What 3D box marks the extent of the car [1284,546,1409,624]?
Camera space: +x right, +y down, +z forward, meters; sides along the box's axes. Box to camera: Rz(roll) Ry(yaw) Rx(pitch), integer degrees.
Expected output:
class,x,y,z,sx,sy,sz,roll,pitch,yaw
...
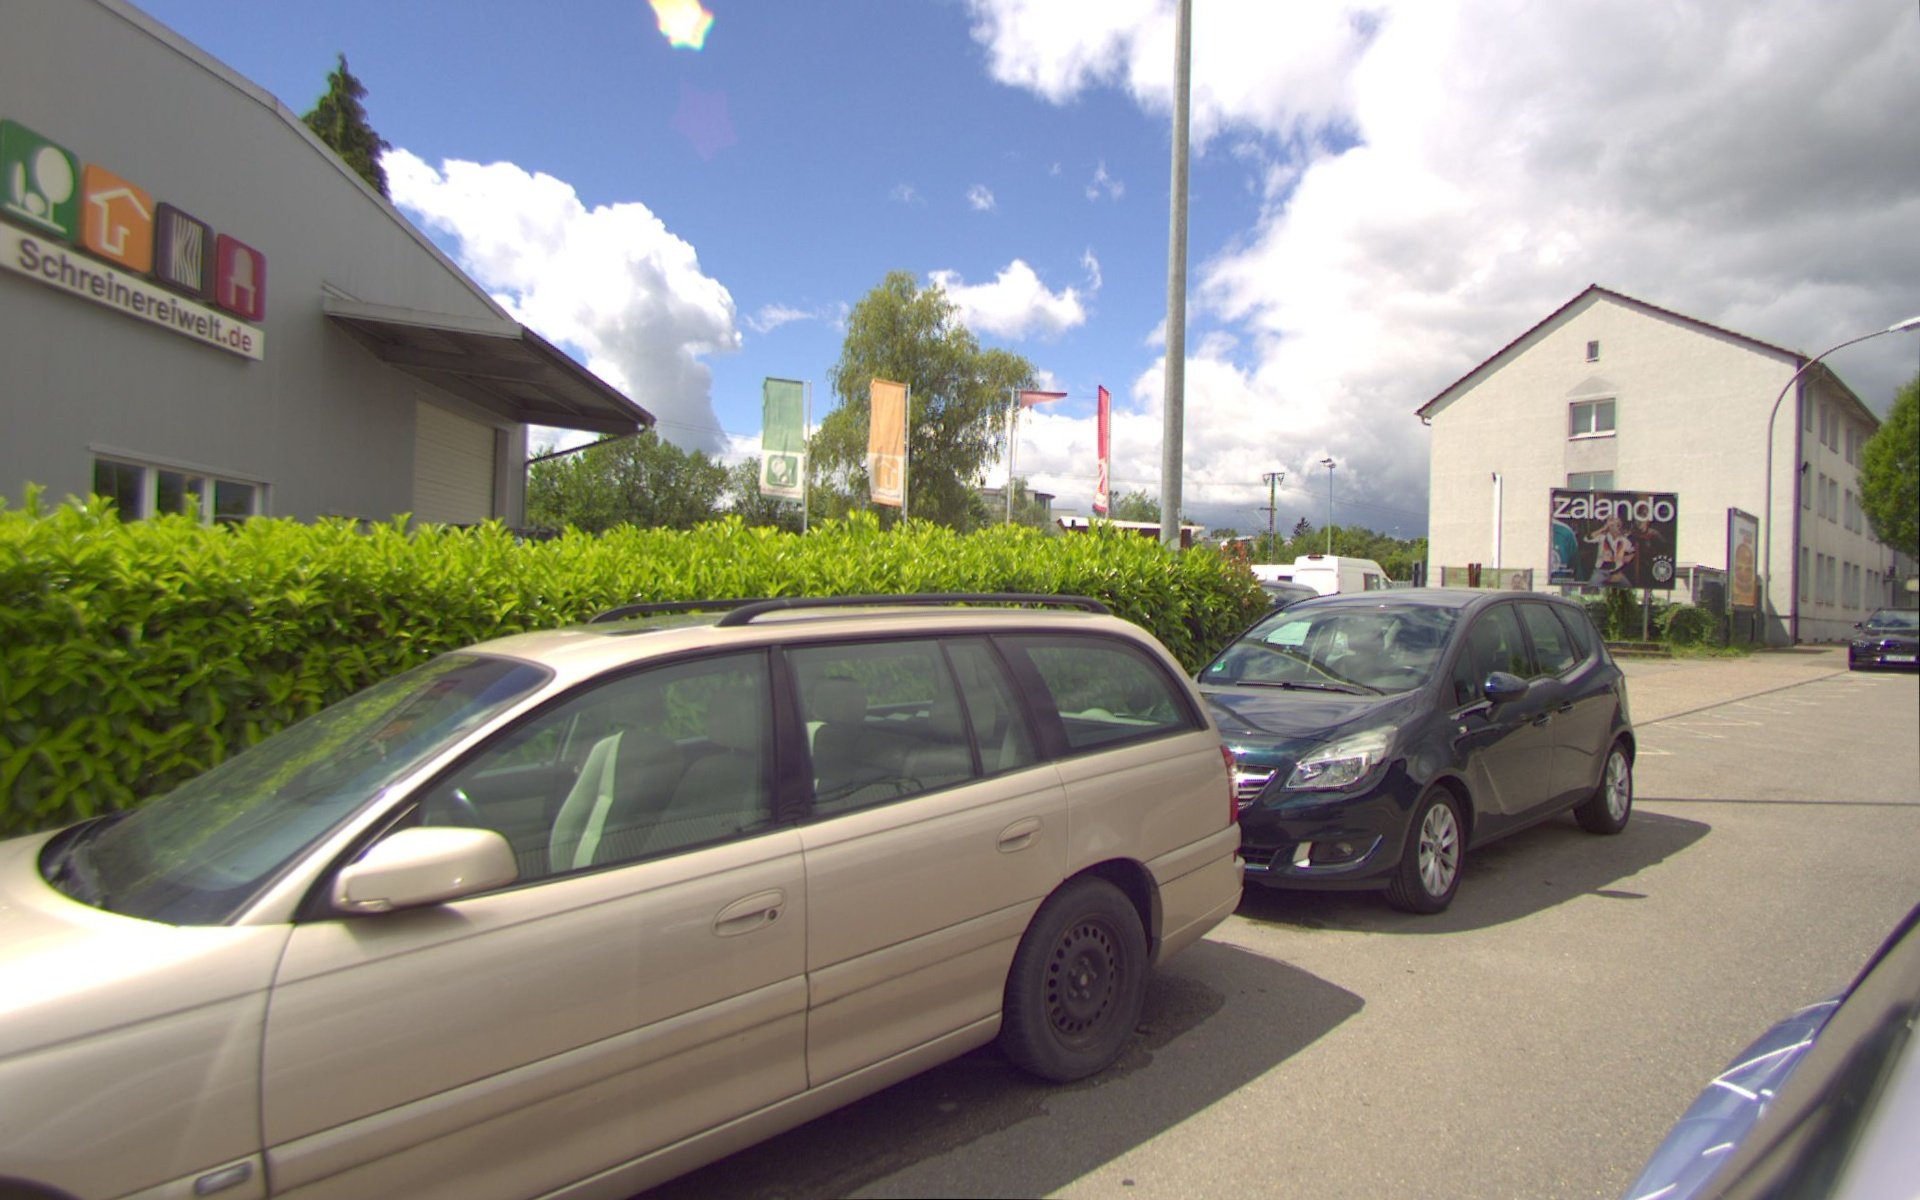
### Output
class,x,y,z,sx,sy,sz,roll,pitch,yaw
car,14.868,-0.632,38.786,5.363,2.802,2.279,-2,2,-42

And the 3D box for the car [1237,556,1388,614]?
class,x,y,z,sx,sy,sz,roll,pitch,yaw
car,15.884,-0.725,45.956,2.238,2.481,6.167,-2,2,-44

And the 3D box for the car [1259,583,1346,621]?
class,x,y,z,sx,sy,sz,roll,pitch,yaw
car,13.898,0.036,41.023,3.801,1.407,1.628,-2,2,-40

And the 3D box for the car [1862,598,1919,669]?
class,x,y,z,sx,sy,sz,roll,pitch,yaw
car,22.410,0.722,23.442,4.627,1.484,1.794,0,1,-42

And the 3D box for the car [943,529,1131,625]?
class,x,y,z,sx,sy,sz,roll,pitch,yaw
car,2.462,-0.760,33.161,5.865,2.879,2.066,2,2,2

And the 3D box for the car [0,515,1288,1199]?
class,x,y,z,sx,sy,sz,roll,pitch,yaw
car,-1.040,0.633,2.965,4.651,1.559,1.658,0,1,-41

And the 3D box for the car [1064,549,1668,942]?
class,x,y,z,sx,sy,sz,roll,pitch,yaw
car,2.674,0.594,6.205,4.048,1.658,1.683,0,1,-39

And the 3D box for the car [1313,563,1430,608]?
class,x,y,z,sx,sy,sz,roll,pitch,yaw
car,20.029,-0.750,49.366,1.966,2.060,4.959,-2,2,-41

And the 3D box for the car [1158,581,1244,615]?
class,x,y,z,sx,sy,sz,roll,pitch,yaw
car,10.861,-0.137,45.463,3.930,1.380,1.812,-2,2,-40

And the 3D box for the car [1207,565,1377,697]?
class,x,y,z,sx,sy,sz,roll,pitch,yaw
car,4.561,0.302,14.452,1.698,1.480,4.064,4,3,11
